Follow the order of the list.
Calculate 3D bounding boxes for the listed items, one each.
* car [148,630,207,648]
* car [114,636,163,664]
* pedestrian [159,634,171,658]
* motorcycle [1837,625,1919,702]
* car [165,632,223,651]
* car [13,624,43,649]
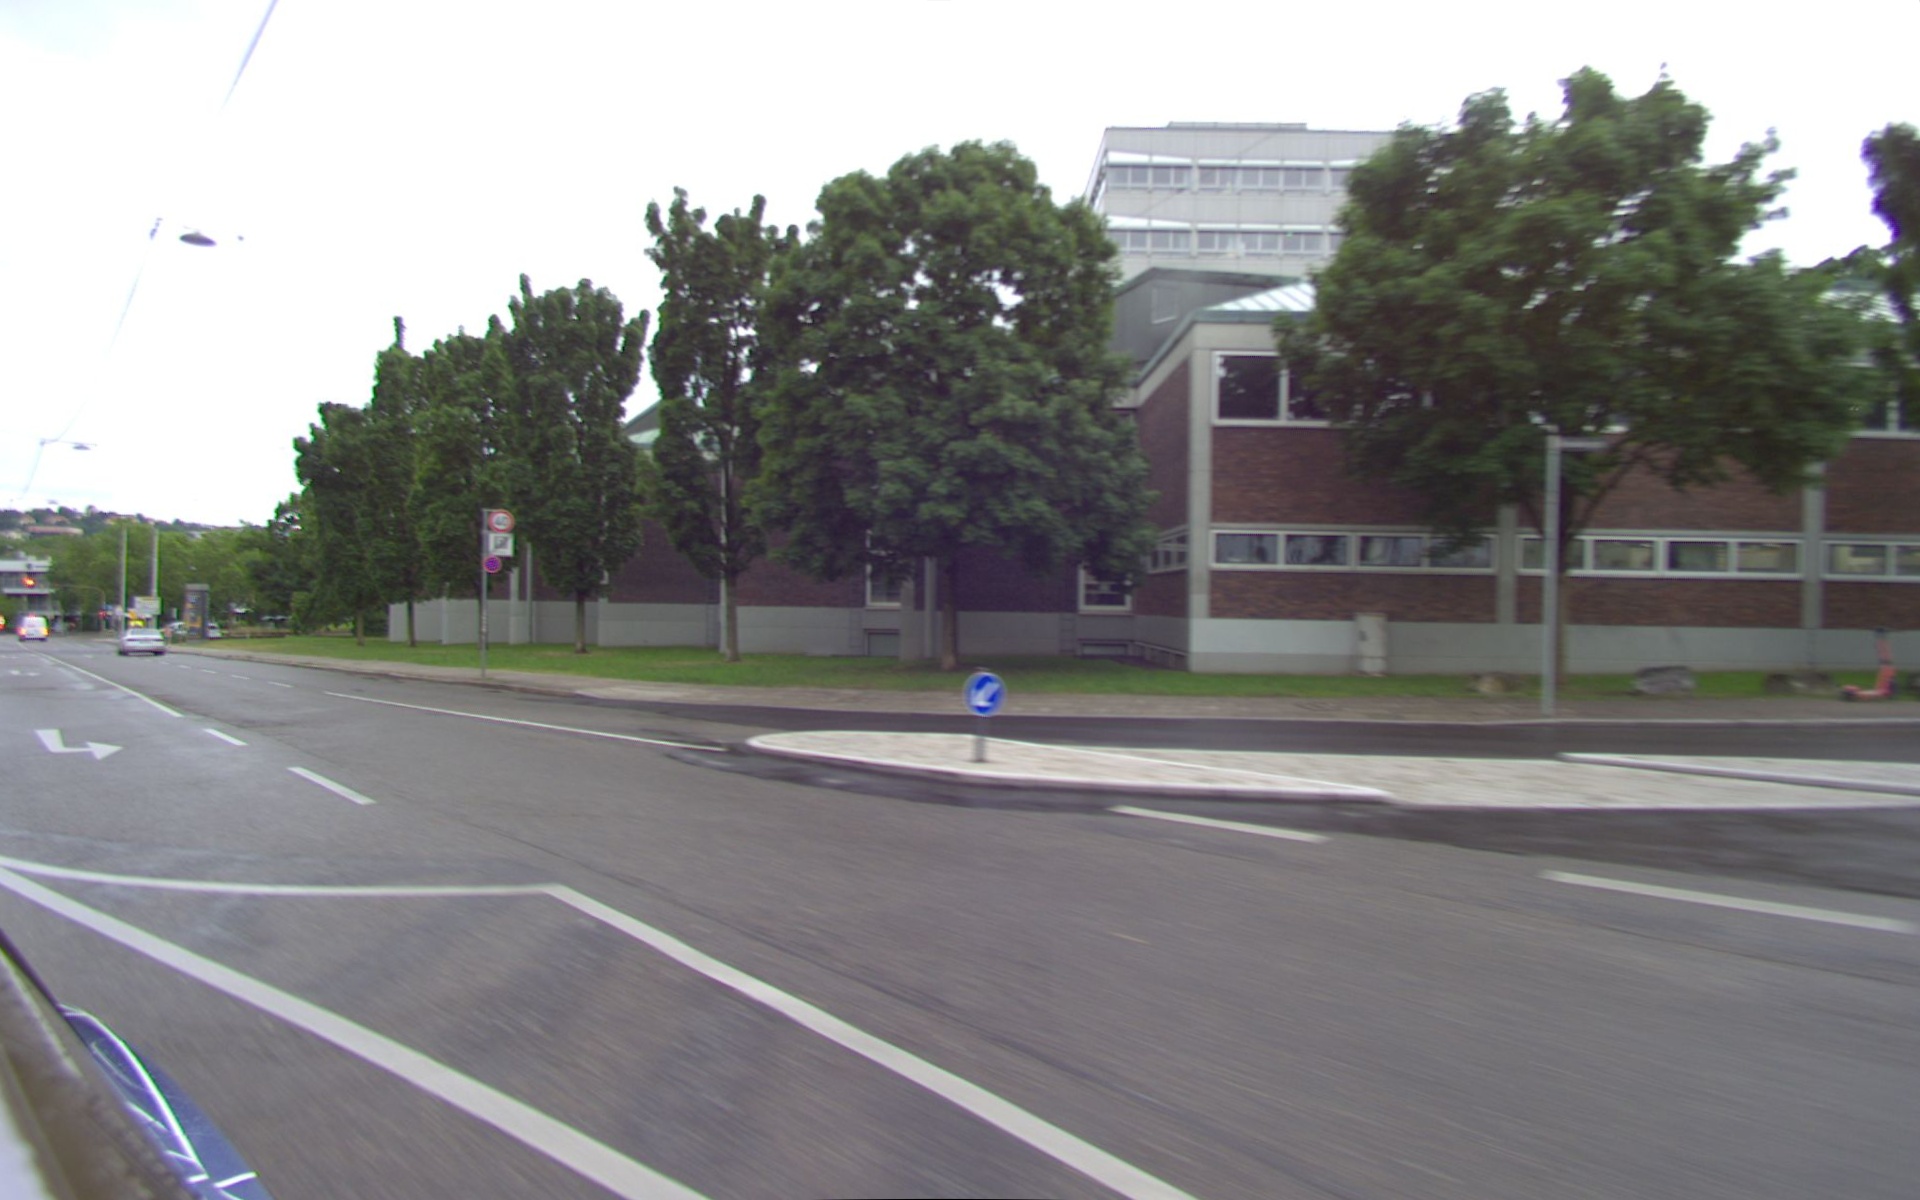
[{"bbox_3d":[-82.591,4.109,106.828,4.654,1.768,2.017,-1,0,-3],"label":"car"},{"bbox_3d":[-46.503,2.813,57.273,1.858,1.502,5.226,3,-4,-42],"label":"car"},{"bbox_3d":[-57.831,3.366,73.589,0.661,1.699,0.915,-1,0,-37],"label":"pedestrian"},{"bbox_3d":[15.044,1.024,16.497,1.208,1.194,0.413,-1,0,-7],"label":"motorcycle"},{"bbox_3d":[-71.318,3.870,94.276,4.480,1.622,1.862,-1,0,12],"label":"car"},{"bbox_3d":[-100.040,3.935,108.569,5.633,2.548,1.961,-2,-3,44],"label":"car"}]
